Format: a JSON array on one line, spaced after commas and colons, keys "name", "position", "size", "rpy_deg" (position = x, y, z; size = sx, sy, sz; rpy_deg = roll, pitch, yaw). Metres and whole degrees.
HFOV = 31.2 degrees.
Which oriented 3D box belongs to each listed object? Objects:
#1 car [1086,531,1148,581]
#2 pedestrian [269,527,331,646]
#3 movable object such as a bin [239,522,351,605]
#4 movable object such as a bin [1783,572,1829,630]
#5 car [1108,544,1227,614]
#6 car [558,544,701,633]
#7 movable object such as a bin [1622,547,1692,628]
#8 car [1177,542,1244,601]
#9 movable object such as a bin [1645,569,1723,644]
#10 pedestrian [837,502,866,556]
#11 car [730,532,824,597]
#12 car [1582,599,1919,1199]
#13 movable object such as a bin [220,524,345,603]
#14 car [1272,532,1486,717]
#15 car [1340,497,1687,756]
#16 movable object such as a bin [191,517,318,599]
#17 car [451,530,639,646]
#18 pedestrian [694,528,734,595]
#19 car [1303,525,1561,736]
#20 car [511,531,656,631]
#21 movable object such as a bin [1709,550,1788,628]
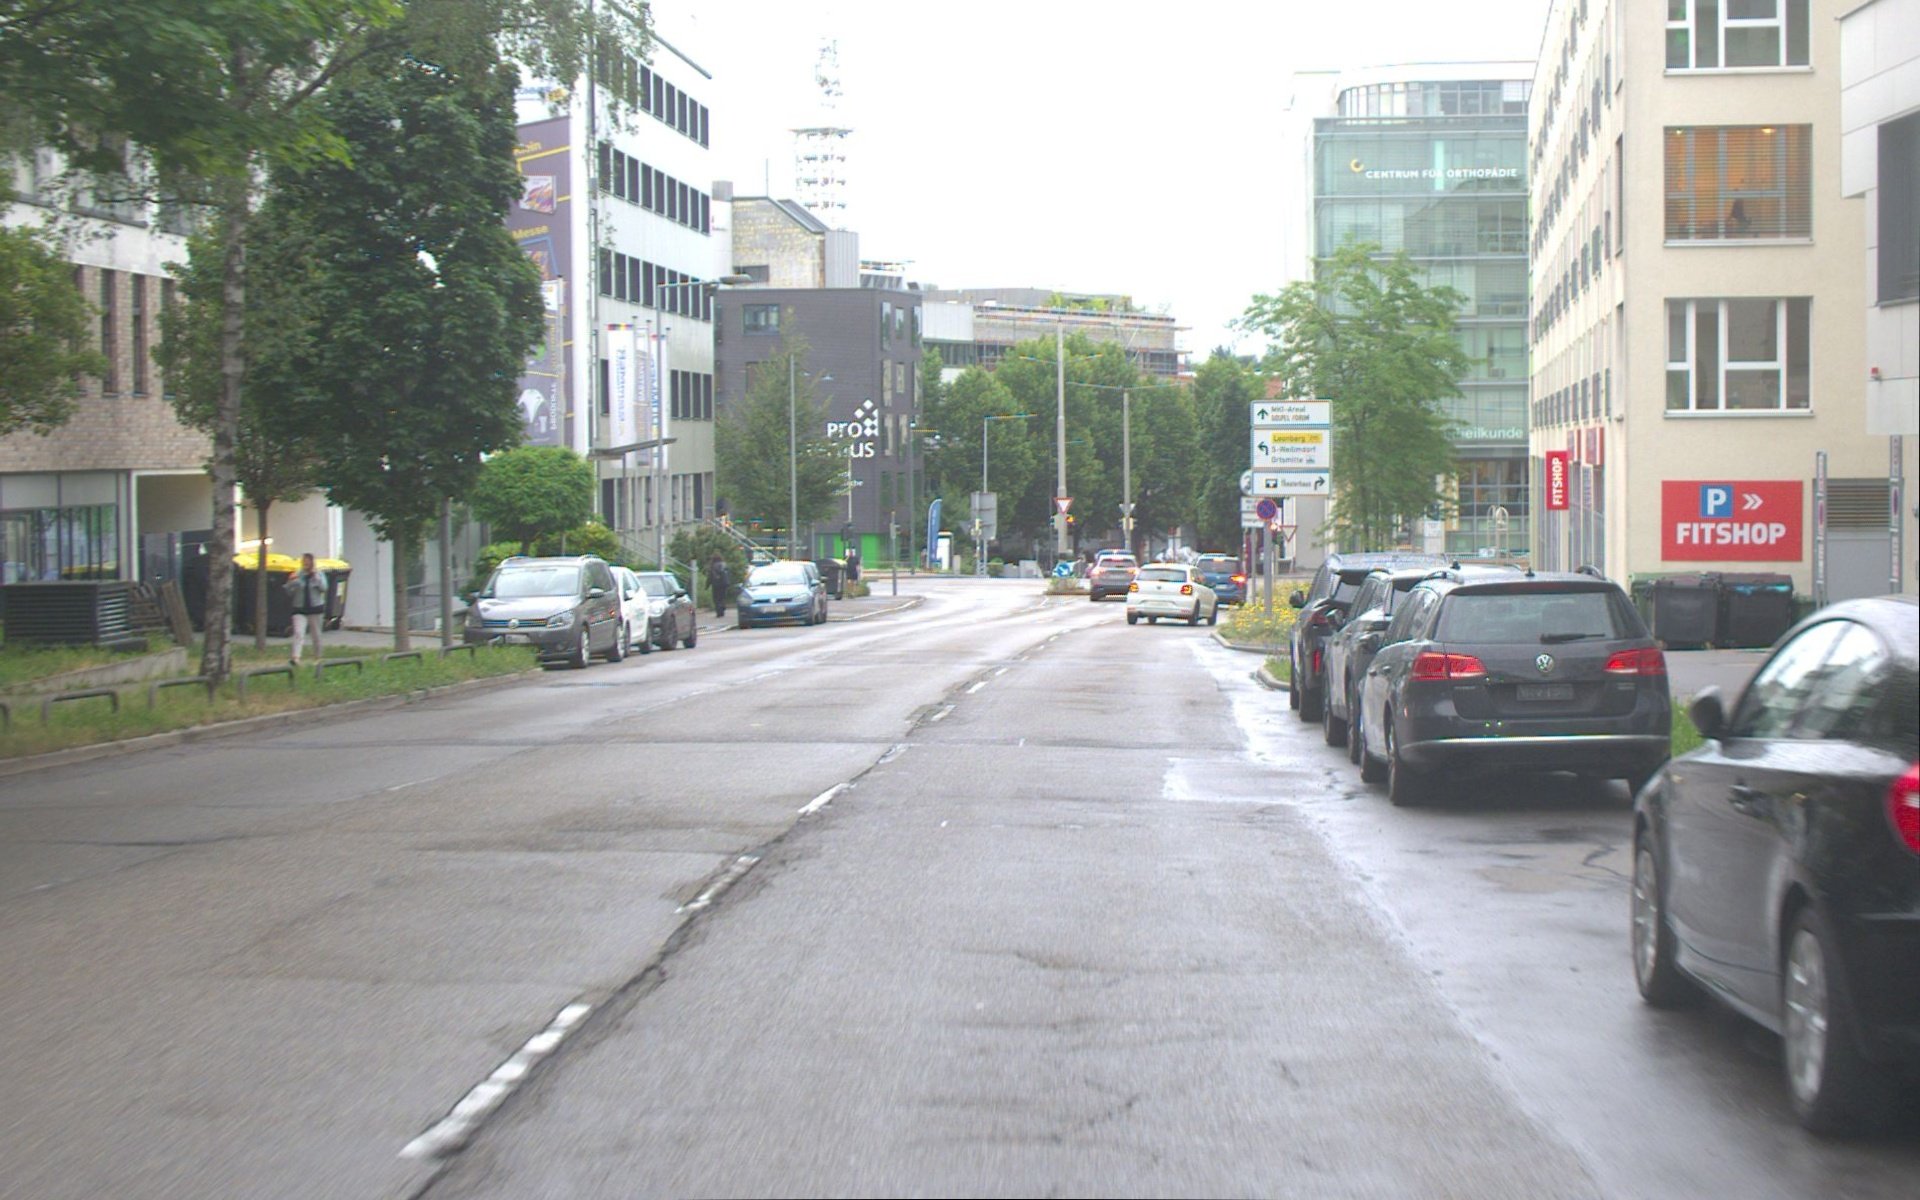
[{"name": "car", "position": [5.592, -1.548, 122.054], "size": [2.142, 1.722, 4.000], "rpy_deg": [1, 0, 3]}, {"name": "pedestrian", "position": [-9.432, -0.196, 49.169], "size": [0.708, 1.677, 0.957], "rpy_deg": [0, 1, -1]}, {"name": "movable object such as a bin", "position": [-12.684, -0.698, 65.621], "size": [1.795, 1.505, 1.482], "rpy_deg": [-2, 1, 0]}, {"name": "movable object such as a bin", "position": [15.348, 0.013, 62.378], "size": [0.699, 1.023, 0.853], "rpy_deg": [0, 1, 6]}, {"name": "car", "position": [4.983, -0.529, 82.109], "size": [1.995, 1.571, 3.993], "rpy_deg": [1, 2, 17]}, {"name": "car", "position": [-5.877, -0.212, 61.538], "size": [1.797, 1.511, 4.245], "rpy_deg": [1, 0, 5]}, {"name": "movable object such as a bin", "position": [12.952, -0.239, 63.902], "size": [1.174, 1.498, 1.013], "rpy_deg": [0, 1, 6]}, {"name": "car", "position": [7.681, -0.884, 105.640], "size": [1.994, 1.744, 3.672], "rpy_deg": [0, 1, 4]}, {"name": "movable object such as a bin", "position": [12.975, 0.108, 61.654], "size": [1.235, 1.315, 1.191], "rpy_deg": [-1, 0, 5]}, {"name": "pedestrian", "position": [-3.936, -2.588, 124.959], "size": [0.959, 1.948, 0.779], "rpy_deg": [0, 0, -8]}, {"name": "car", "position": [-4.291, -0.823, 81.144], "size": [1.914, 1.476, 4.356], "rpy_deg": [0, 0, 1]}, {"name": "car", "position": [3.074, 0.760, 10.326], "size": [1.808, 1.479, 4.495], "rpy_deg": [0, 0, 3]}, {"name": "movable object such as a bin", "position": [-12.630, -0.680, 64.137], "size": [2.054, 1.418, 1.317], "rpy_deg": [1, 1, 0]}, {"name": "car", "position": [4.161, 0.181, 34.769], "size": [1.808, 1.673, 4.712], "rpy_deg": [1, 2, 3]}, {"name": "car", "position": [3.638, 0.144, 23.379], "size": [1.808, 1.558, 4.846], "rpy_deg": [0, 0, 3]}, {"name": "movable object such as a bin", "position": [-12.876, -0.764, 62.811], "size": [2.026, 1.425, 1.290], "rpy_deg": [2, 1, 0]}, {"name": "car", "position": [-6.168, -0.215, 51.641], "size": [2.077, 1.603, 4.685], "rpy_deg": [-1, 1, 2]}, {"name": "pedestrian", "position": [-6.301, -0.987, 88.031], "size": [0.728, 1.703, 0.904], "rpy_deg": [0, 0, -23]}, {"name": "car", "position": [3.842, 0.220, 28.570], "size": [1.749, 1.600, 4.373], "rpy_deg": [0, 0, 3]}, {"name": "car", "position": [-6.189, -0.346, 56.891], "size": [1.773, 1.595, 4.031], "rpy_deg": [0, 1, 3]}, {"name": "movable object such as a bin", "position": [14.320, -0.208, 62.464], "size": [1.261, 1.398, 1.112], "rpy_deg": [0, 1, 6]}]
